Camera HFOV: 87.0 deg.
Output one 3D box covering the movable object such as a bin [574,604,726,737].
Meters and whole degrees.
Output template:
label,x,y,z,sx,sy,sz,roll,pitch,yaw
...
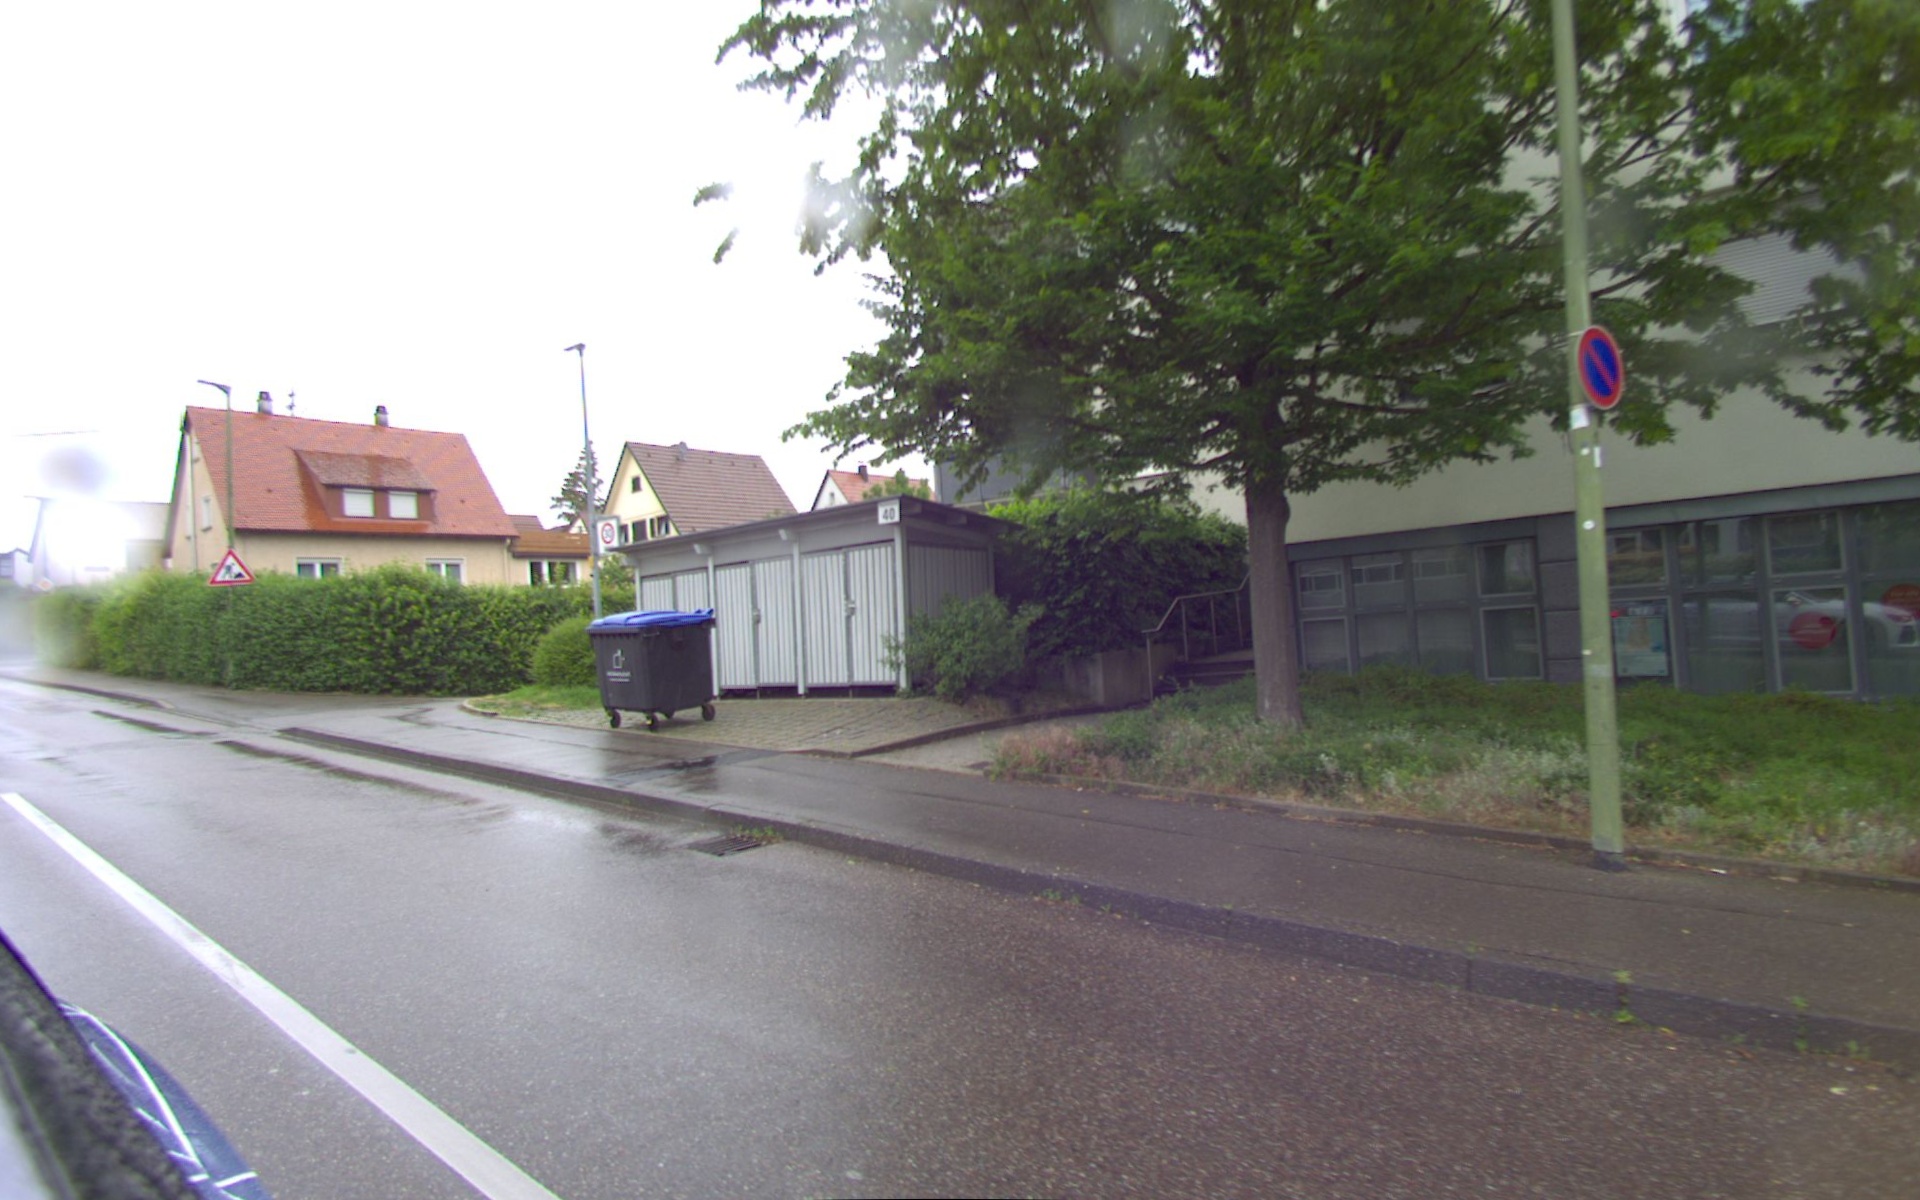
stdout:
label,x,y,z,sx,sy,sz,roll,pitch,yaw
movable object such as a bin,-3.552,0.770,11.598,1.317,1.357,1.061,-2,1,39
